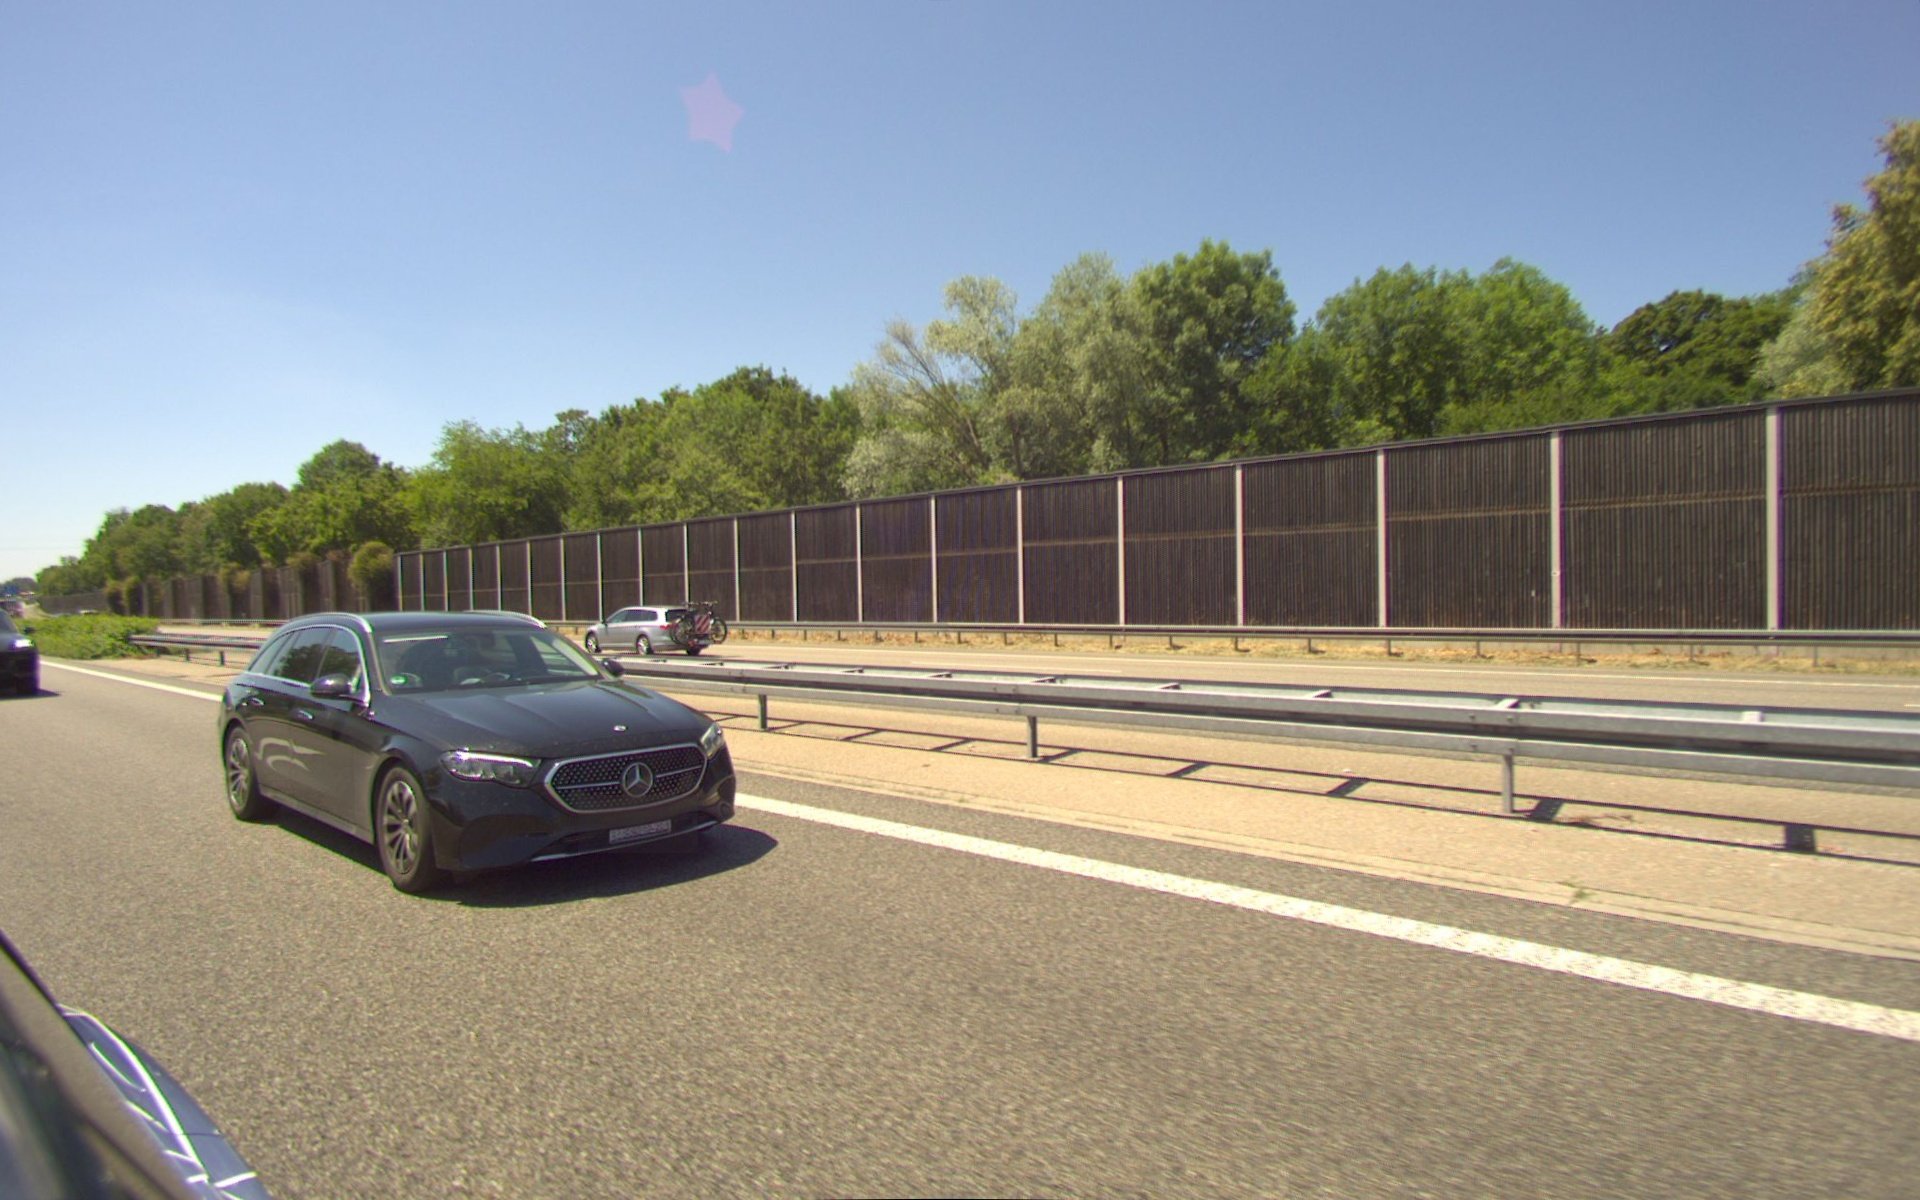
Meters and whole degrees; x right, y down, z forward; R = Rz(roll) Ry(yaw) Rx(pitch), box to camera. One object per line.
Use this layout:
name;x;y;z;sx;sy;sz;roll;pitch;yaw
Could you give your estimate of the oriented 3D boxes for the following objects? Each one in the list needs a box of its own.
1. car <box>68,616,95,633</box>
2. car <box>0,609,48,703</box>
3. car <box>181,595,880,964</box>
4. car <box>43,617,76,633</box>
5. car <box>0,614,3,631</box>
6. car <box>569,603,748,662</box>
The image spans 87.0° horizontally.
car;-108.733;3.017;125.223;5.385;2.029;1.972;-1;0;43
car;-19.227;1.033;19.288;5.768;1.637;2.023;-1;0;41
car;-3.290;0.781;6.819;5.816;1.518;1.924;-1;0;40
car;-96.032;2.640;107.921;5.583;1.656;1.973;-1;0;41
car;-117.852;2.798;122.821;5.343;2.029;1.973;-1;0;41
car;-8.866;0.901;29.381;5.979;1.534;2.102;-1;0;41
